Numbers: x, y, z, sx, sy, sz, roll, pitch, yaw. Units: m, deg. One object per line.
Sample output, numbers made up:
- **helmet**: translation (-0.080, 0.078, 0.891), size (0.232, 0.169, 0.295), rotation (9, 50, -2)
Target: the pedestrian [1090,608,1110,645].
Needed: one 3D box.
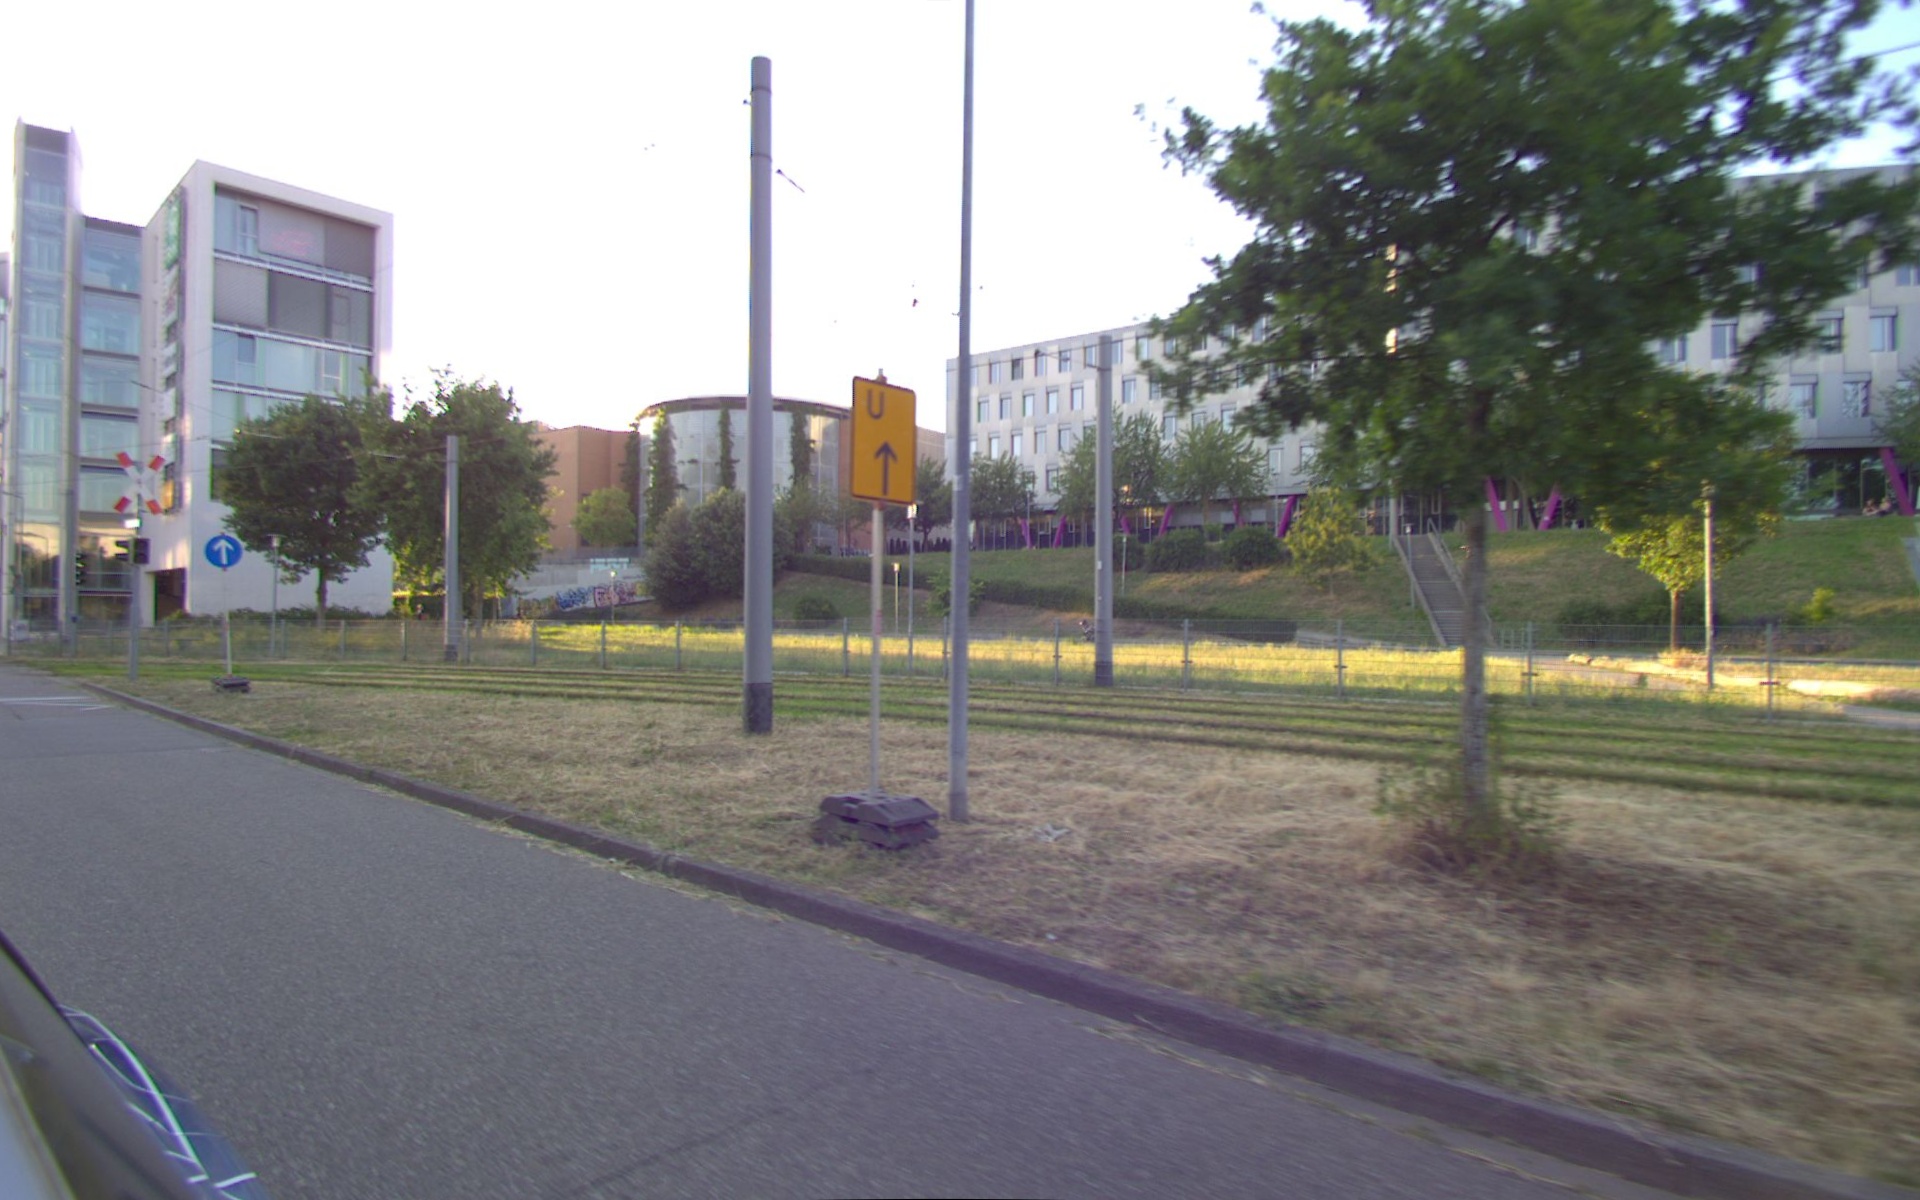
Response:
- **pedestrian**: translation (7.004, 1.312, 50.652), size (0.790, 1.850, 0.610), rotation (-1, 0, 41)

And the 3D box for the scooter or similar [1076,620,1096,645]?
- **scooter or similar**: translation (6.413, 1.644, 51.324), size (0.790, 1.253, 0.610), rotation (-1, 0, 41)

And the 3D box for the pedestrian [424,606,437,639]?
- **pedestrian**: translation (-30.107, 1.274, 57.549), size (0.480, 1.850, 0.434), rotation (-1, 0, 21)

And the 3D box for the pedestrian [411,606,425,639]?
- **pedestrian**: translation (-30.744, 1.271, 57.386), size (0.480, 1.850, 0.446), rotation (-1, 0, 21)
